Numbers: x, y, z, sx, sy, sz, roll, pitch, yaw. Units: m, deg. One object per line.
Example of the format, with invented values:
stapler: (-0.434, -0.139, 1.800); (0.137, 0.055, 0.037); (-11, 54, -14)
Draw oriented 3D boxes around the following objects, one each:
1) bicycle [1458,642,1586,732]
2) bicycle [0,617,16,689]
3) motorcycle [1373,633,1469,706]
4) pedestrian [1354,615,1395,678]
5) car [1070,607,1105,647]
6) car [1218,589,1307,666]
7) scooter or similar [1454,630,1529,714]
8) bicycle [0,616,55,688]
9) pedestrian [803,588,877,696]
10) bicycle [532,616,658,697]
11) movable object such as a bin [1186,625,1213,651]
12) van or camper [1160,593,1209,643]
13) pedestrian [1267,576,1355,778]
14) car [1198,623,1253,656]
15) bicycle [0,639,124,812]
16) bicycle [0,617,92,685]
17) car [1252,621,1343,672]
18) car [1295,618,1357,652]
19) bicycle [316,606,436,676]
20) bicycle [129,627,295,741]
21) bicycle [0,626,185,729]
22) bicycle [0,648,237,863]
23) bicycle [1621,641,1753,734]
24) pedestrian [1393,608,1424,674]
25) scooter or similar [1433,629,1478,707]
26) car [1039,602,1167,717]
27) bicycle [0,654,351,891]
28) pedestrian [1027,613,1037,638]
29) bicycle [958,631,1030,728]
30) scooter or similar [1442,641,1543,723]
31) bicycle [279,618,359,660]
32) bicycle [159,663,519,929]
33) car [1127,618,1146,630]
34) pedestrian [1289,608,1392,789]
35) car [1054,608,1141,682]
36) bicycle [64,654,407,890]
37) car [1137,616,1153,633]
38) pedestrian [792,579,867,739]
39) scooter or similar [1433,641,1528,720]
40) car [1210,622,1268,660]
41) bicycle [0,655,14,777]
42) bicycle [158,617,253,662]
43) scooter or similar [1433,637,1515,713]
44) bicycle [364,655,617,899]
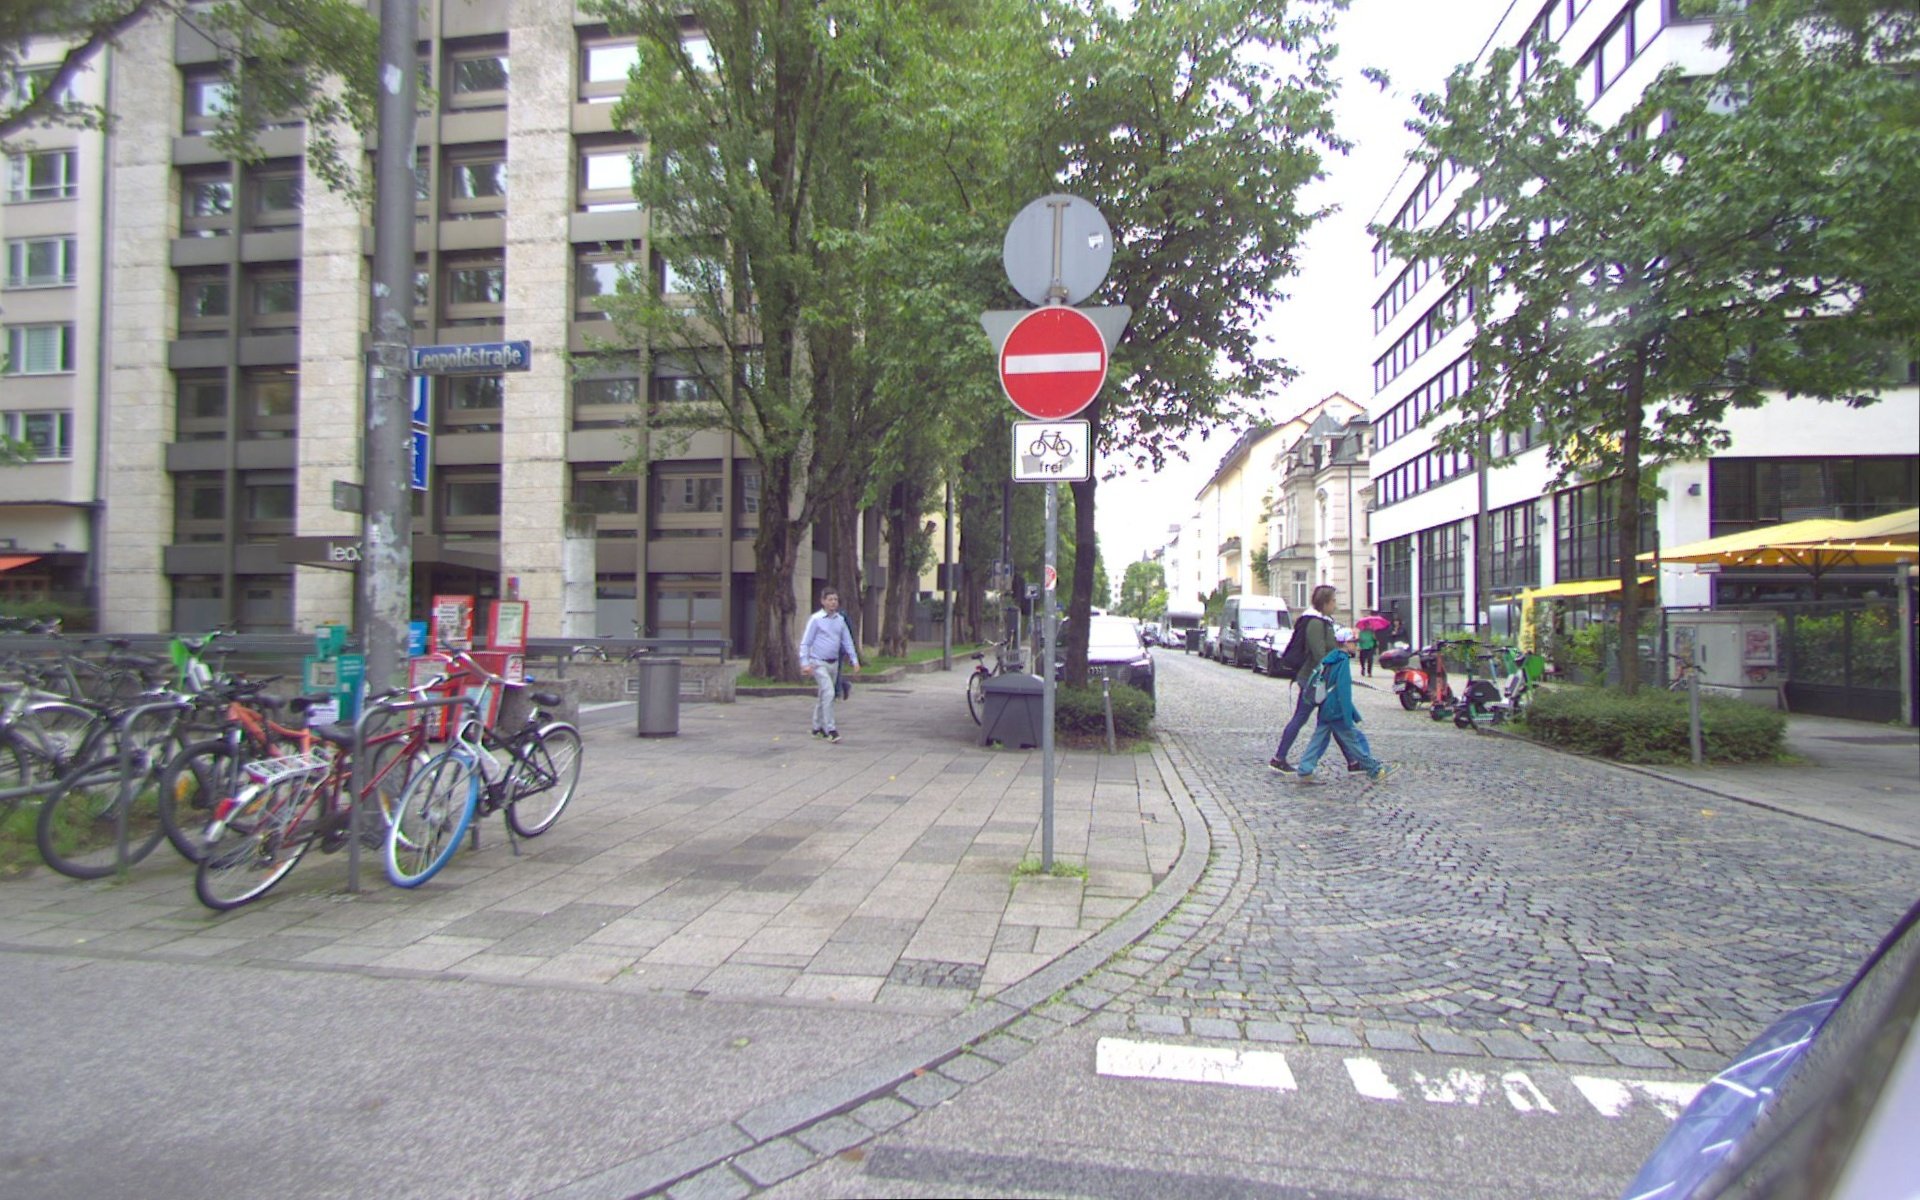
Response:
bicycle: (7.689, 1.162, 13.834); (1.726, 1.158, 0.555); (1, -2, -22)
bicycle: (-16.531, 0.863, 16.561); (1.839, 1.175, 0.586); (0, -1, 11)
motorcycle: (8.242, 1.237, 18.070); (1.955, 1.211, 0.770); (3, -2, -40)
pedestrian: (11.524, 1.282, 28.168); (0.915, 1.728, 0.797); (0, -1, 11)
car: (8.195, 1.725, 65.421); (2.053, 2.464, 5.599); (-1, -1, 6)
car: (10.794, 0.950, 36.566); (2.031, 2.522, 5.837); (1, -1, 6)
scooter or similar: (8.516, 1.134, 16.216); (1.225, 1.289, 0.328); (0, -2, -22)
bicycle: (-16.436, 0.867, 17.179); (1.839, 1.175, 0.586); (0, -1, 11)
pedestrian: (-1.982, 0.679, 16.826); (0.861, 1.736, 0.903); (-1, -2, 28)
bicycle: (-6.007, 0.911, 16.684); (1.839, 1.293, 0.719); (0, -1, 11)
movable object such as a bin: (12.447, 1.962, 52.626); (1.233, 1.315, 1.172); (1, -1, 5)
van or camper: (14.600, 1.173, 66.207); (2.423, 3.086, 7.302); (0, -1, 7)
pedestrian: (3.164, 0.663, 9.106); (0.683, 1.722, 0.658); (0, -2, 25)
car: (12.257, 1.783, 46.896); (1.966, 1.406, 3.990); (0, -1, 8)
bicycle: (-6.294, 0.802, 6.234); (0.506, 1.051, 1.825); (0, 0, 14)
bicycle: (-16.323, 0.879, 17.797); (1.839, 1.175, 0.586); (0, -1, 11)
car: (9.747, 1.309, 29.508); (1.968, 1.347, 4.102); (0, -1, 11)
car: (17.549, 1.639, 48.688); (1.881, 1.552, 4.161); (0, -1, 6)
bicycle: (-10.016, 0.693, 17.381); (1.839, 1.175, 0.586); (0, -1, 11)
bicycle: (-8.323, 0.901, 11.250); (1.847, 1.175, 0.583); (0, -1, 22)
bicycle: (-10.327, 0.900, 11.990); (1.834, 1.175, 0.587); (0, -1, 1)
bicycle: (-5.465, 0.895, 6.180); (0.505, 1.119, 1.926); (0, 0, 8)
bicycle: (9.044, 1.055, 12.678); (0.544, 1.035, 1.759); (0, -1, 7)
pedestrian: (12.073, 1.094, 27.278); (0.565, 1.770, 0.650); (1, -1, 4)
scooter or similar: (8.461, 1.144, 17.256); (0.326, 1.289, 1.336); (-1, -3, 42)
car: (2.386, 0.936, 17.342); (1.893, 1.722, 4.192); (-1, -1, 7)
bicycle: (-4.538, 0.910, 6.005); (0.468, 1.064, 1.871); (0, 0, 10)
pedestrian: (4.588, 1.625, 64.477); (0.533, 1.550, 0.531); (1, -2, -15)
bicycle: (0.477, 0.994, 13.263); (0.469, 1.151, 1.866); (0, -1, 17)
scooter or similar: (7.758, 1.182, 14.744); (1.400, 1.159, 0.370); (0, -1, -15)
bicycle: (-18.523, 1.095, 29.321); (0.637, 1.170, 2.240); (0, -1, 8)
bicycle: (-3.102, 0.901, 5.312); (0.468, 1.064, 1.870); (0, -2, 10)
car: (21.577, 2.951, 124.149); (1.965, 1.428, 3.867); (-1, -1, 5)
pedestrian: (3.234, 0.788, 8.579); (0.762, 1.438, 0.811); (0, -1, 25)
car: (3.446, 1.091, 25.811); (1.985, 1.722, 4.663); (-1, -1, 7)
bicycle: (-4.166, 0.913, 6.029); (0.468, 1.064, 1.871); (0, 0, 10)
car: (27.414, 3.627, 150.151); (2.053, 2.464, 5.599); (0, -1, 6)
pedestrian: (-1.485, 0.650, 11.455); (0.698, 1.746, 0.671); (1, -2, -20)
scooter or similar: (7.934, 1.220, 15.461); (1.231, 1.159, 0.326); (0, -2, 10)
car: (11.638, 1.676, 42.473); (1.968, 1.449, 3.987); (0, -1, 10)
bicycle: (-7.010, 0.797, 6.194); (0.465, 0.828, 1.825); (0, 0, 14)
bicycle: (-20.195, 1.034, 27.159); (0.637, 1.170, 2.240); (0, -1, 8)
scooter or similar: (8.530, 1.220, 16.848); (0.382, 1.195, 1.253); (1, -2, -23)
bicycle: (-2.557, 0.892, 5.764); (0.467, 1.064, 1.874); (0, -1, 3)
